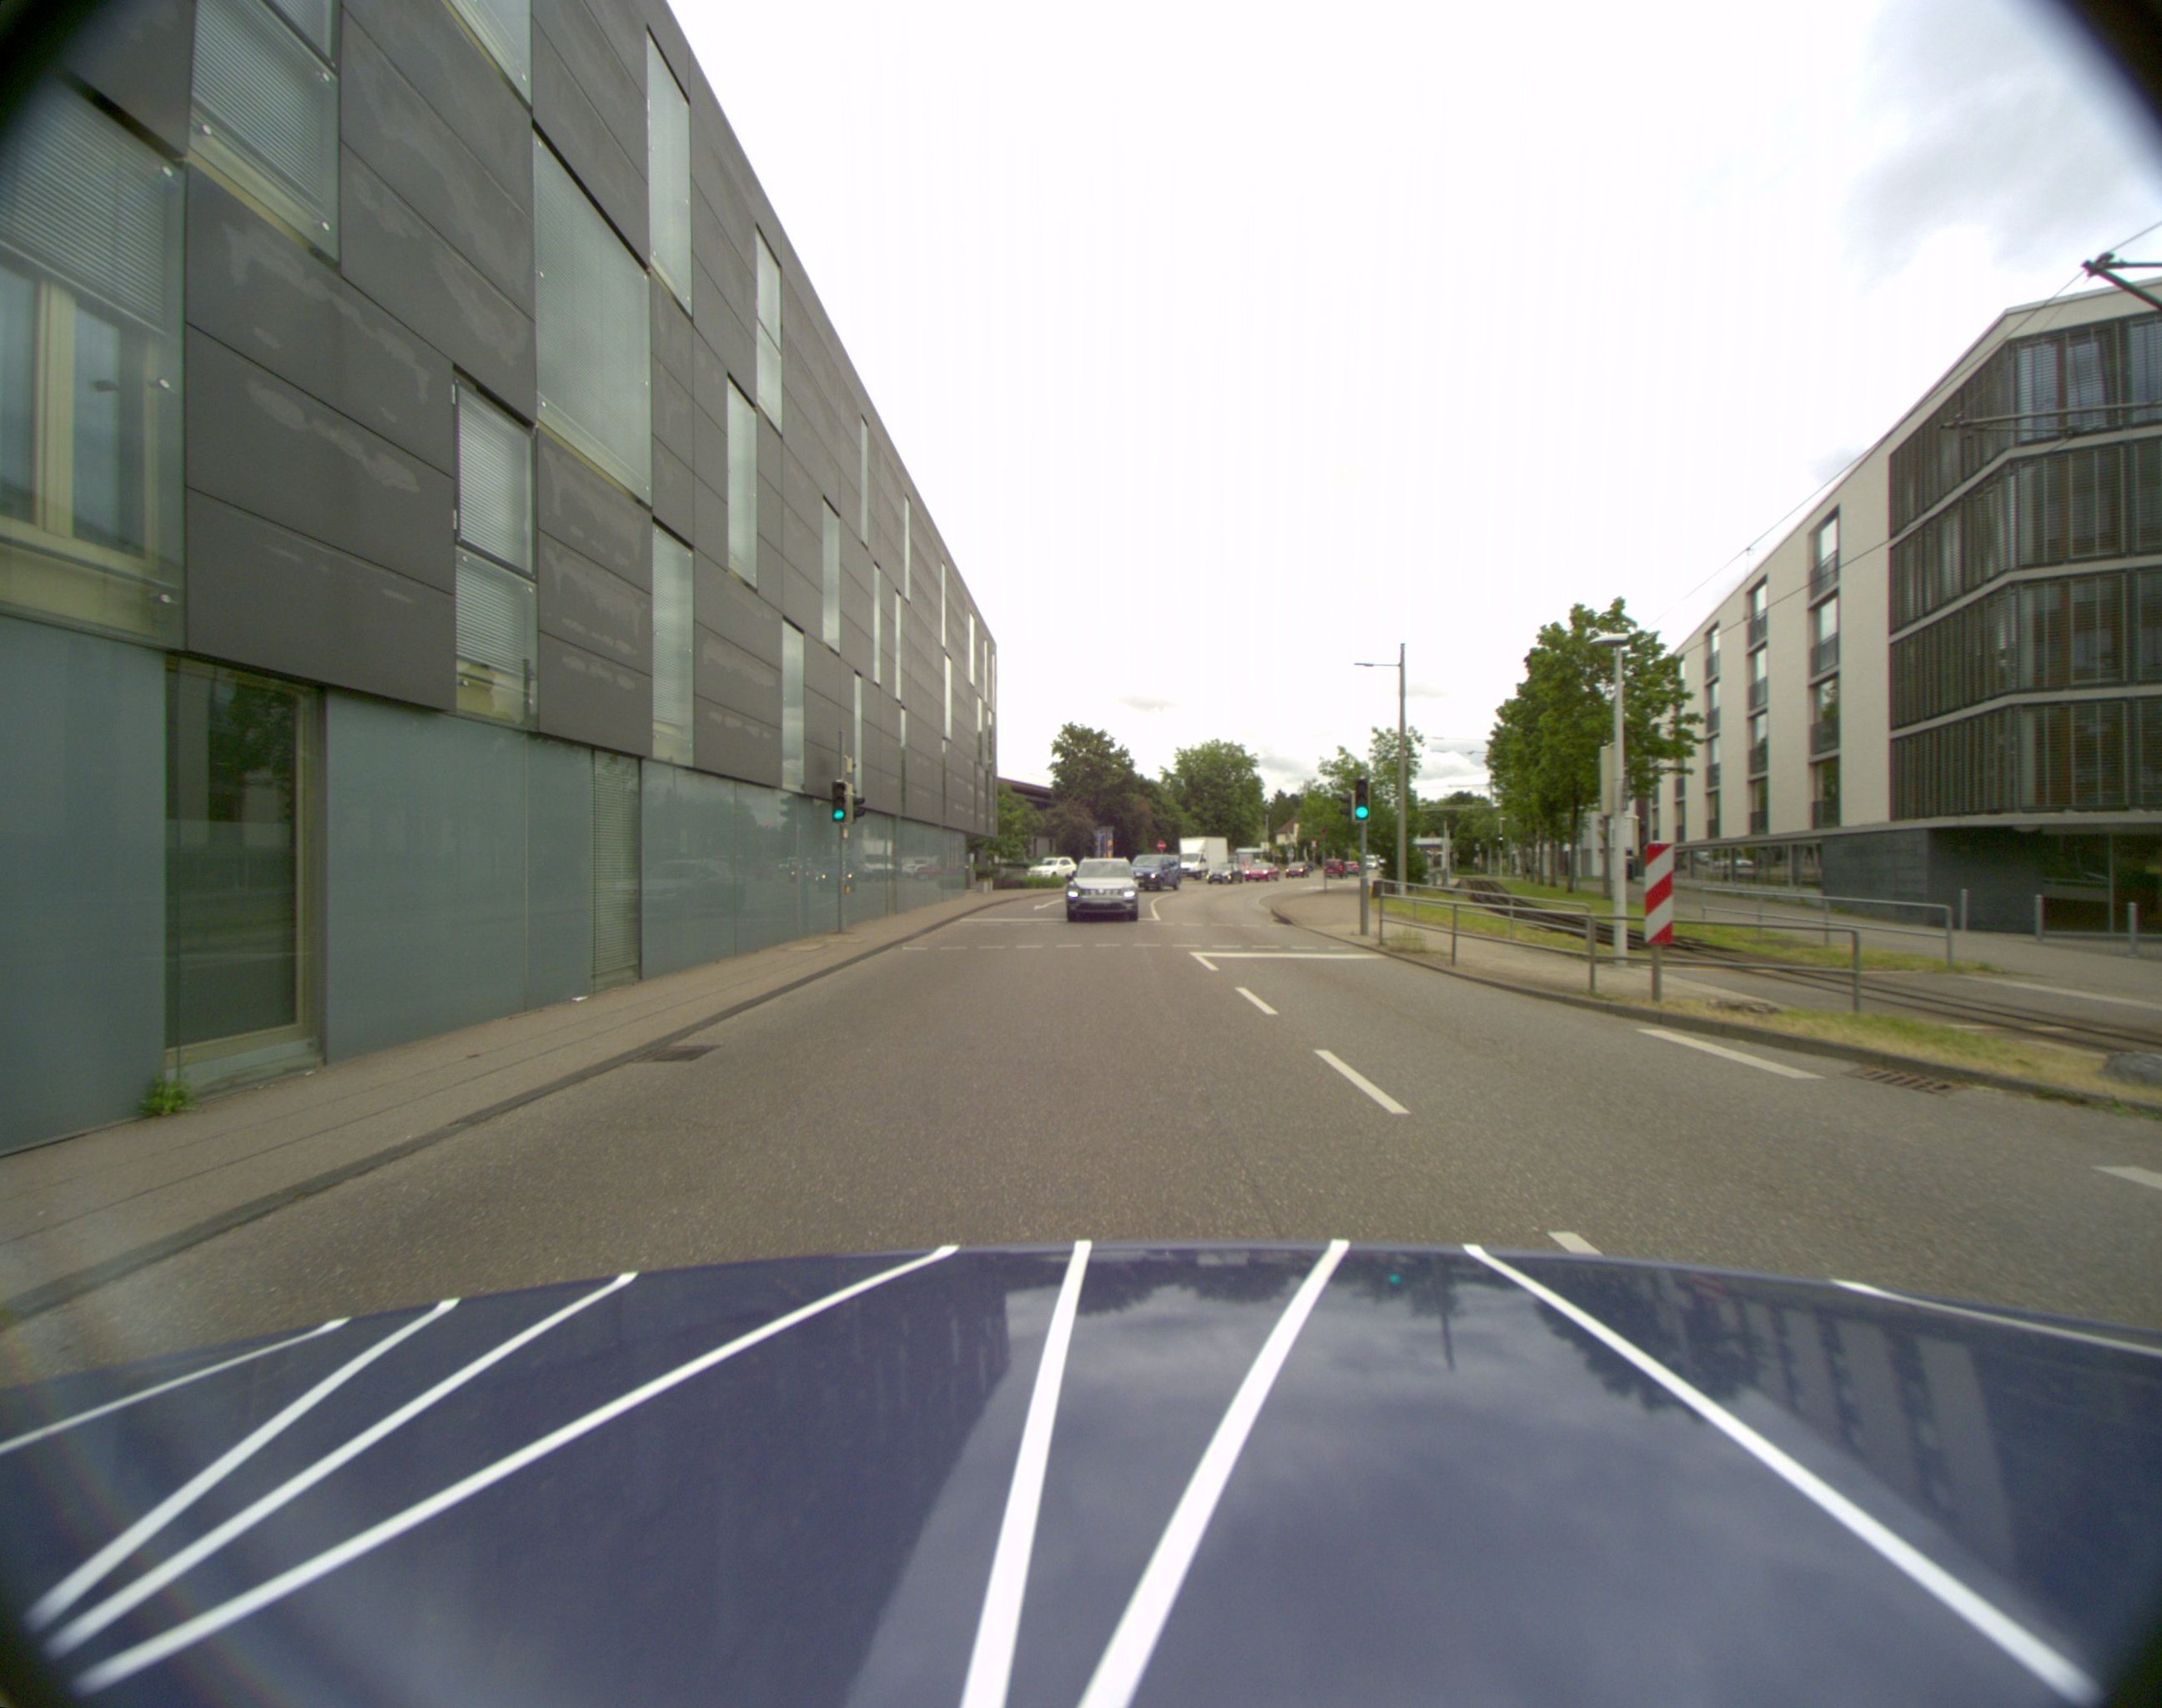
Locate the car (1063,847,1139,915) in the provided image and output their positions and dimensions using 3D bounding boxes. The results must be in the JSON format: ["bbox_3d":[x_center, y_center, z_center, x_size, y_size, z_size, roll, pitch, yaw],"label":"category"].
[{"bbox_3d":[0.569,0.685,20.614,1.811,1.637,4.331,-1,-1,2],"label":"car"}]

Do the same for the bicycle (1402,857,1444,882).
[{"bbox_3d":[16.156,0.738,35.907,1.707,1.082,0.408,-2,-1,15],"label":"bicycle"}]

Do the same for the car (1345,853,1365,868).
[{"bbox_3d":[28.914,0.695,80.010,1.769,1.470,4.007,1,0,22],"label":"car"}]

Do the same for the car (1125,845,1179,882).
[{"bbox_3d":[3.737,0.485,39.311,1.847,1.850,4.006,-1,0,20],"label":"car"}]

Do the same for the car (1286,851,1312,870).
[{"bbox_3d":[21.313,0.618,74.190,1.846,1.850,4.265,-1,0,24],"label":"car"}]

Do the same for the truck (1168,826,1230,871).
[{"bbox_3d":[9.741,-0.428,61.992,2.536,3.406,7.790,-1,0,28],"label":"truck"}]

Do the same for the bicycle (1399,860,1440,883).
[{"bbox_3d":[16.405,0.840,36.876,1.750,1.040,0.409,-3,-1,29],"label":"bicycle"}]

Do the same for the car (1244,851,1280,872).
[{"bbox_3d":[14.027,0.624,58.732,1.846,1.525,4.008,1,-1,26],"label":"car"}]

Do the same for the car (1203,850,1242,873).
[{"bbox_3d":[9.915,0.514,53.013,1.846,1.525,4.007,-1,0,23],"label":"car"}]

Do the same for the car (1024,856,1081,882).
[{"bbox_3d":[-1.890,1.013,52.538,1.853,1.747,4.731,-1,0,27],"label":"car"}]

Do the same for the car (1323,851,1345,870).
[{"bbox_3d":[24.168,0.621,72.569,1.682,1.798,4.359,1,0,23],"label":"car"}]
